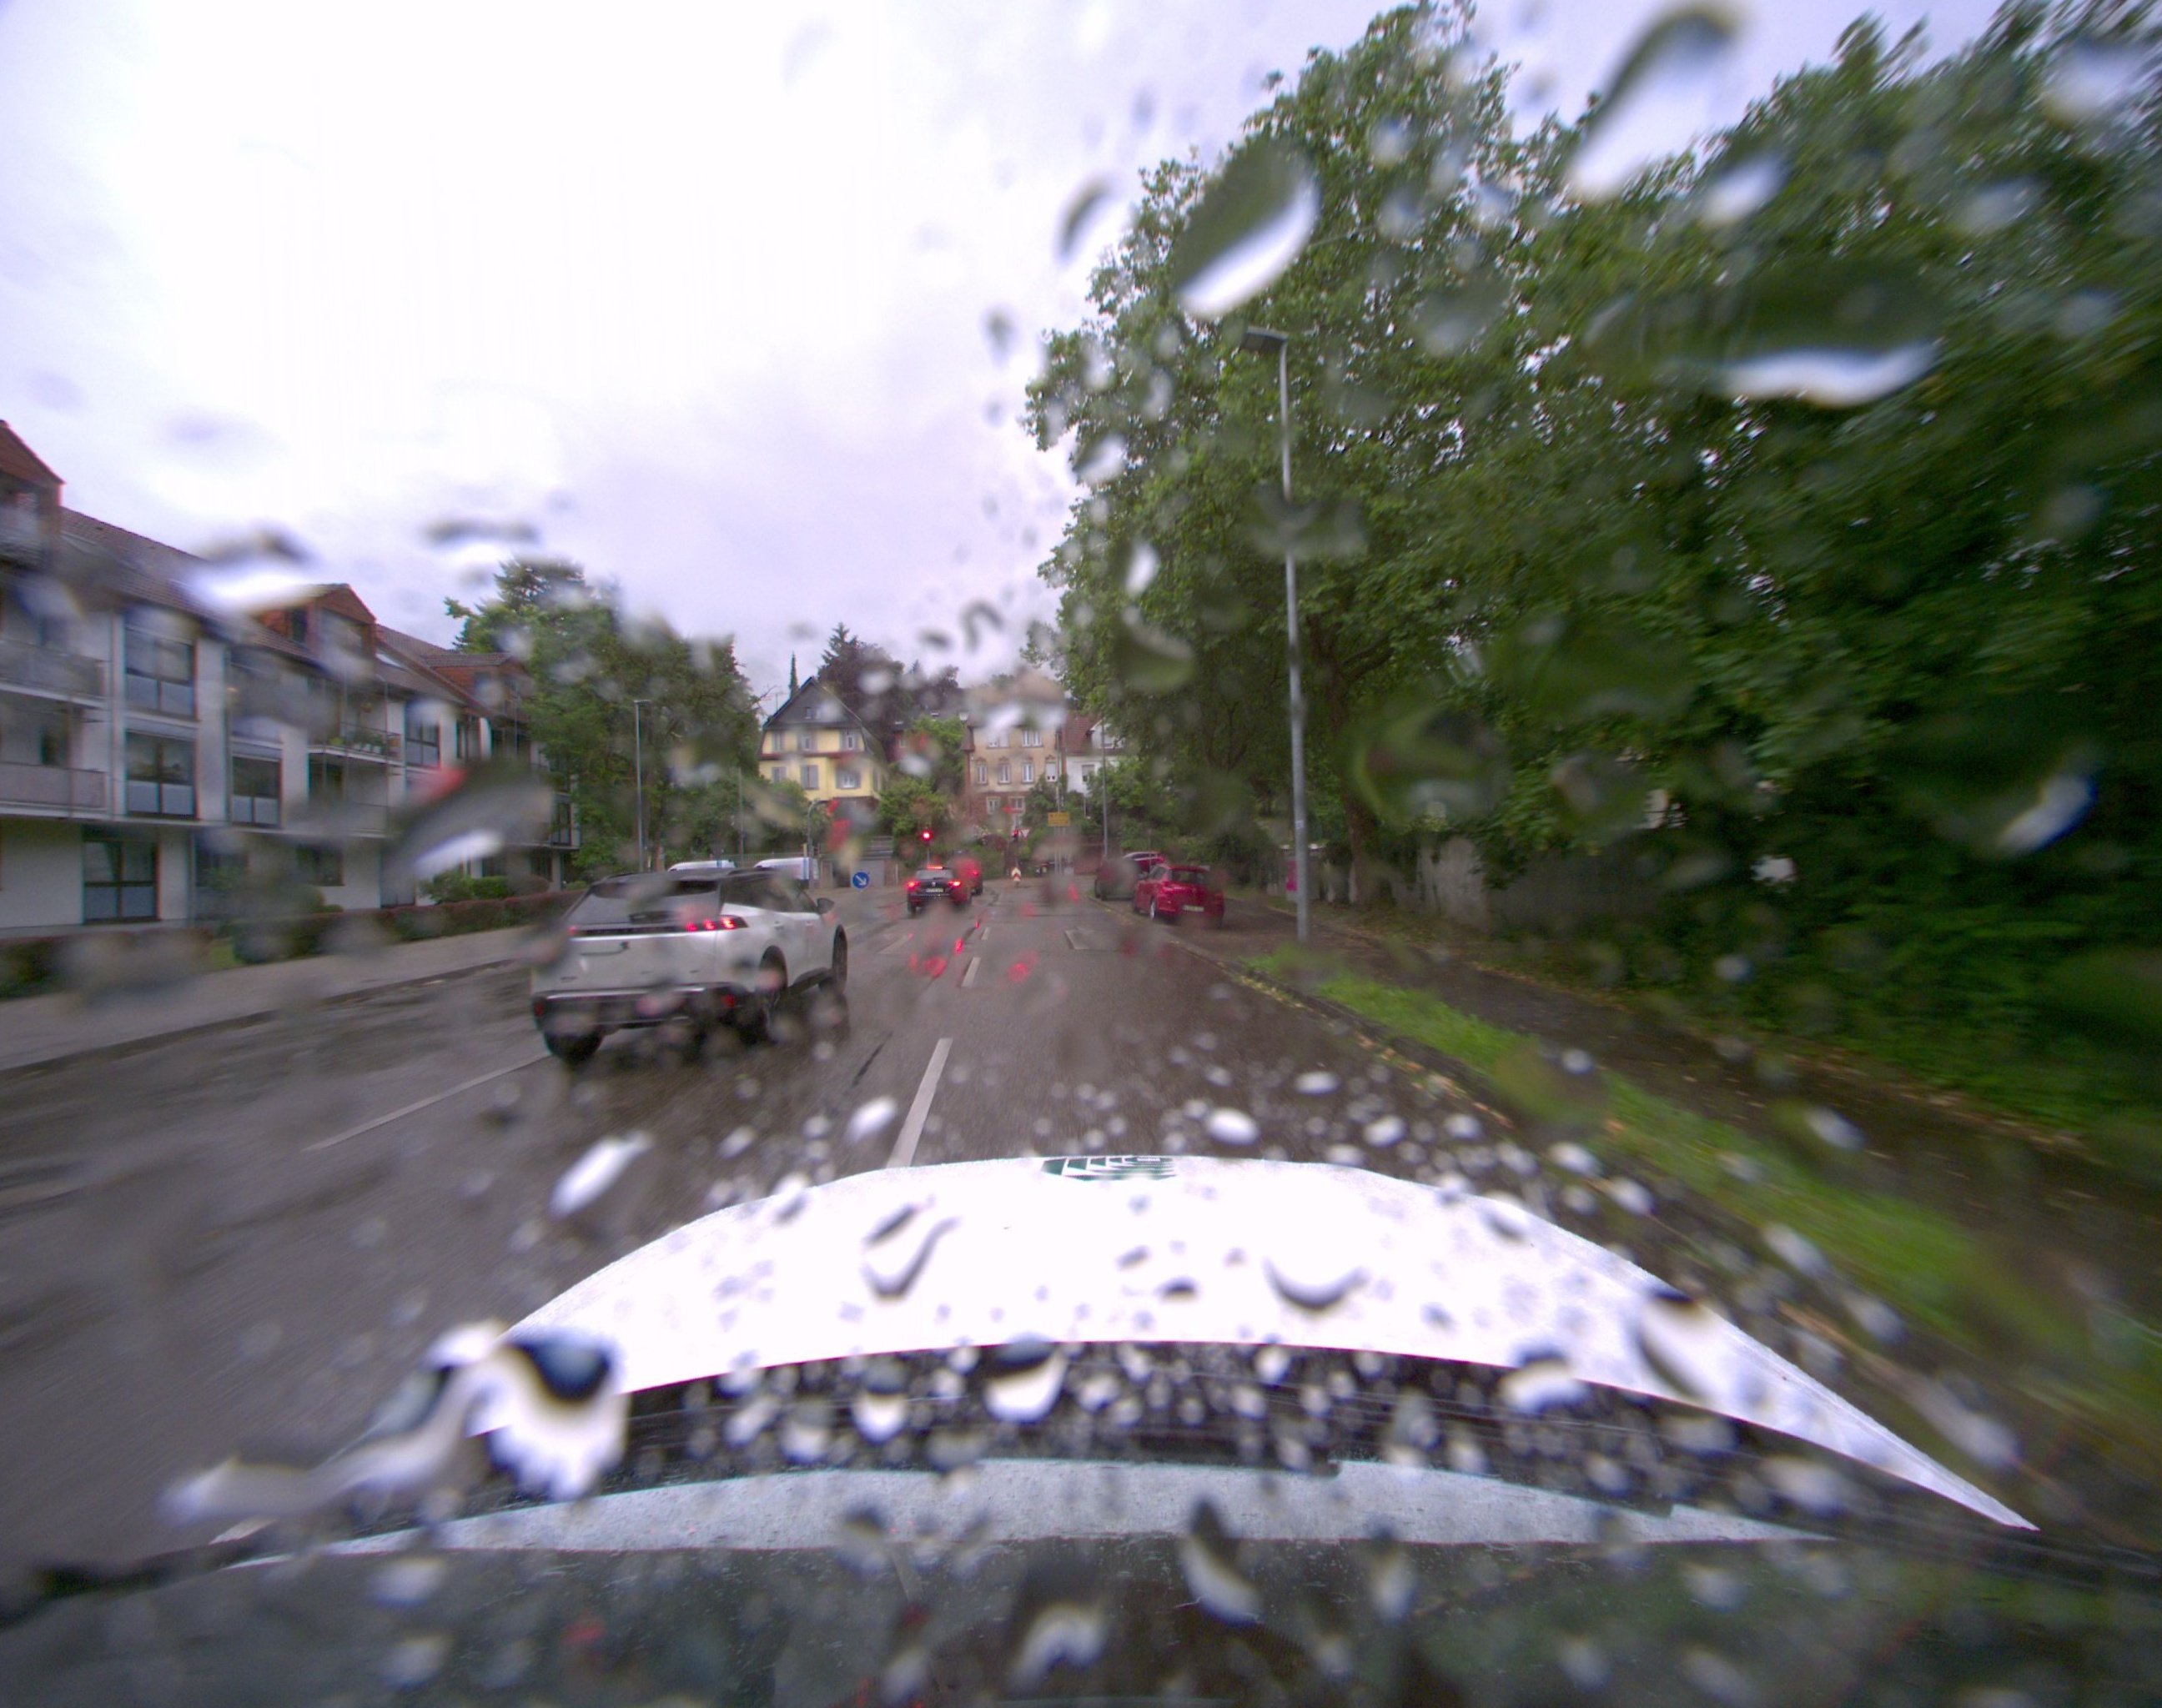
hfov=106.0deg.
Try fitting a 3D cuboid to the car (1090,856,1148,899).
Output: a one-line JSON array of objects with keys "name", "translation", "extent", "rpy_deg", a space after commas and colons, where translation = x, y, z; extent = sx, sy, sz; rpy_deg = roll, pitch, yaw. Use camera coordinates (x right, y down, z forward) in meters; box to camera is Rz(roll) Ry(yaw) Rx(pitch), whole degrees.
[{"name": "car", "translation": [1.377, 0.874, 30.557], "extent": [1.746, 1.492, 3.594], "rpy_deg": [1, -1, -4]}]

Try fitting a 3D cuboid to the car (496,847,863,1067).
[{"name": "car", "translation": [-3.547, 0.778, 8.221], "extent": [1.749, 1.536, 4.360], "rpy_deg": [-2, 0, -4]}]

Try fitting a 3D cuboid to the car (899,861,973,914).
[{"name": "car", "translation": [-4.542, 1.017, 26.166], "extent": [1.828, 1.456, 4.651], "rpy_deg": [1, 0, -4]}]

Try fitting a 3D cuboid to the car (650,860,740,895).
[{"name": "car", "translation": [-28.804, 1.755, 60.874], "extent": [5.550, 2.494, 2.313], "rpy_deg": [-1, -2, -3]}]

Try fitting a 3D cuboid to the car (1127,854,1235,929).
[{"name": "car", "translation": [2.456, 0.888, 20.984], "extent": [1.817, 1.517, 3.735], "rpy_deg": [6, 0, -7]}]

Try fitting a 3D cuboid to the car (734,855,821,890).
[{"name": "car", "translation": [-22.723, 1.412, 61.137], "extent": [5.648, 2.494, 2.313], "rpy_deg": [-1, -2, -3]}]

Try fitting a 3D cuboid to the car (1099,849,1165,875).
[{"name": "car", "translation": [3.668, 0.601, 58.797], "extent": [4.558, 1.601, 1.772], "rpy_deg": [-3, -2, -4]}]

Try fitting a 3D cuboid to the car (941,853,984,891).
[{"name": "car", "translation": [-5.537, 0.795, 38.471], "extent": [1.758, 1.711, 4.591], "rpy_deg": [0, 0, -6]}]
